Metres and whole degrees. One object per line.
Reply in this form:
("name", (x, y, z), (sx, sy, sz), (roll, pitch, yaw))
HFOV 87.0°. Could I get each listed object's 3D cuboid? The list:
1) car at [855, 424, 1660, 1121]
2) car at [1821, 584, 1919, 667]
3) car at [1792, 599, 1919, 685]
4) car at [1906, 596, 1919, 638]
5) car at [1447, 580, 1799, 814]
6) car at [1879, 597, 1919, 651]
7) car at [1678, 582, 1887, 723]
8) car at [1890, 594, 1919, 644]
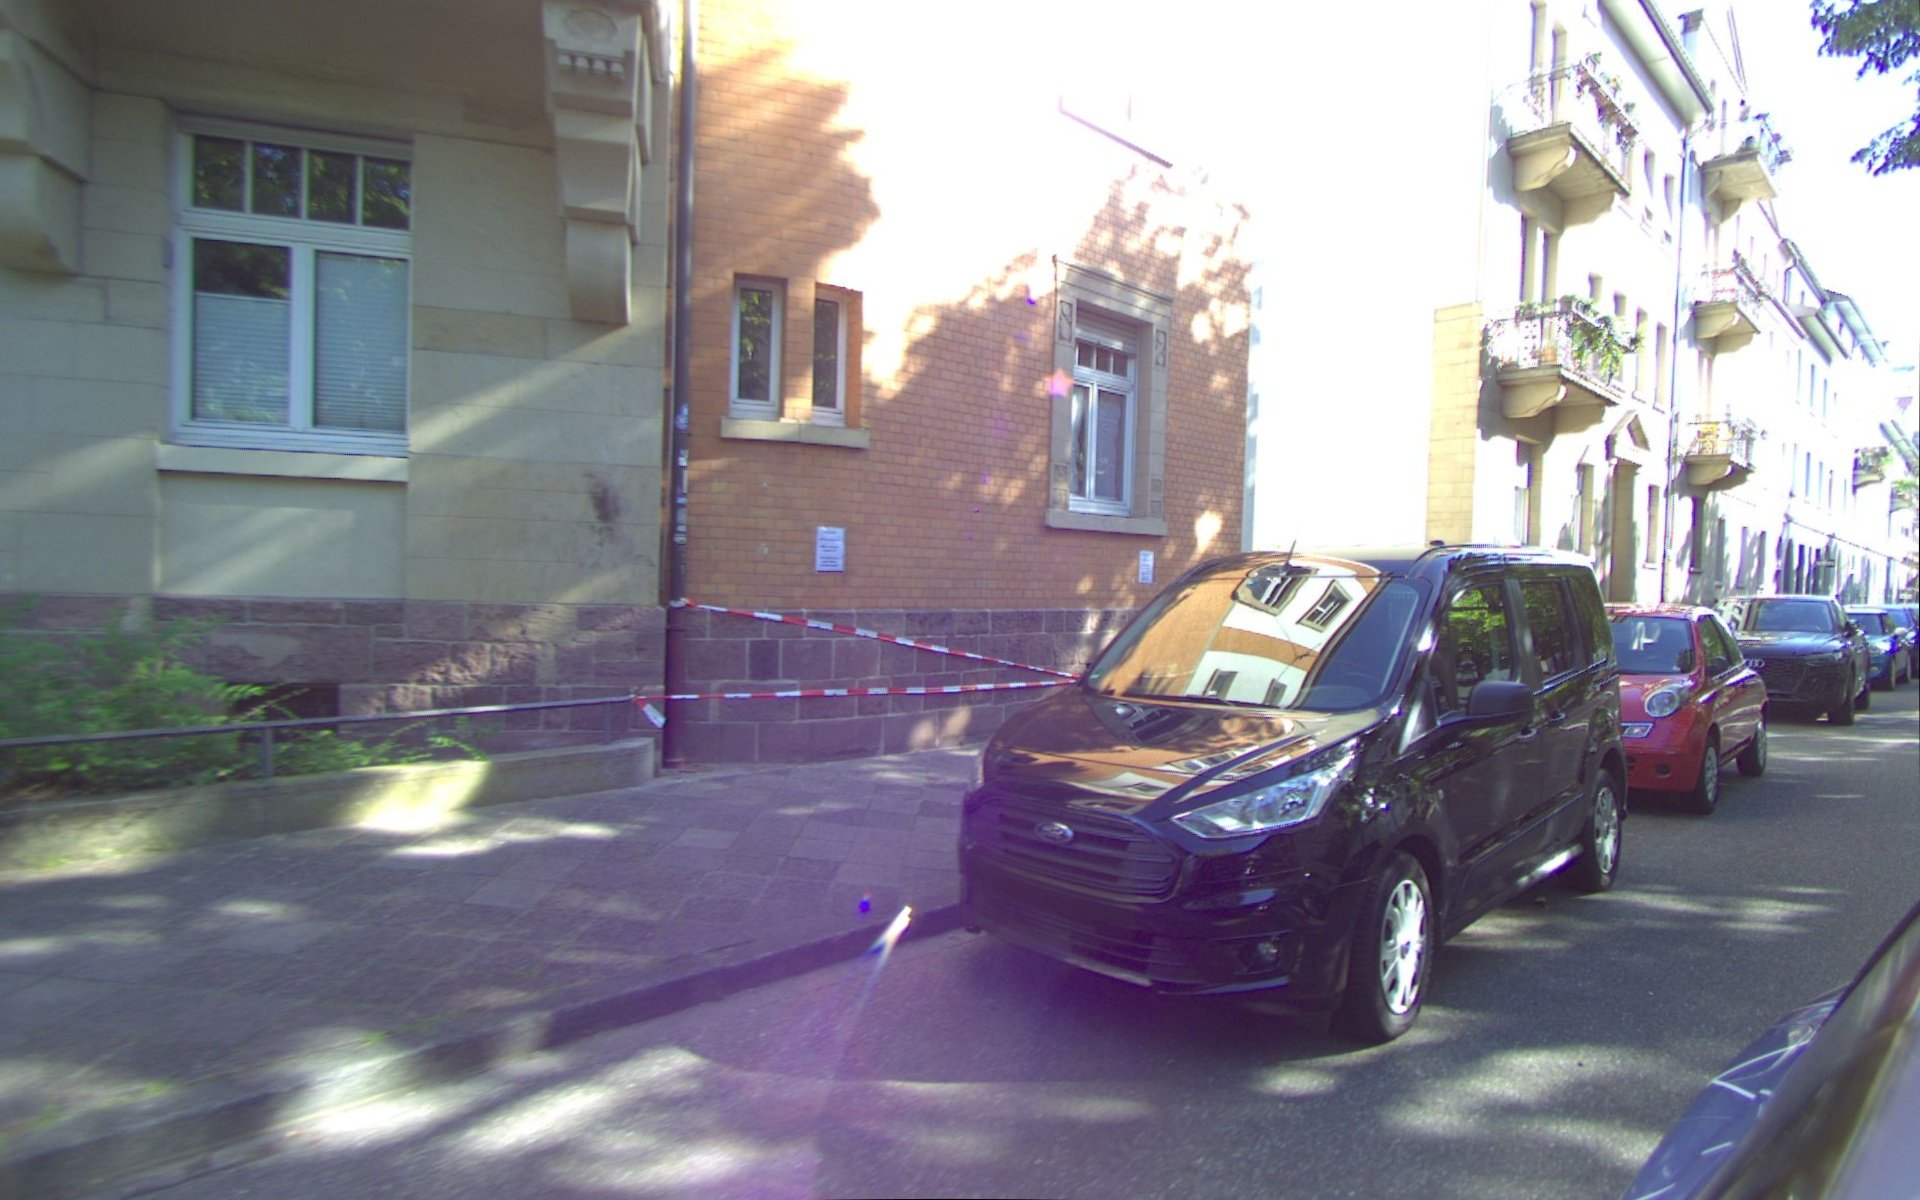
("car", (1.728, 0.485, 4.873), (4.201, 1.895, 1.802), (0, -2, -43))
("car", (20.147, 0.506, 21.947), (4.249, 1.583, 1.807), (0, 3, -44))
("car", (16.836, 0.710, 18.826), (3.569, 1.433, 1.592), (0, 0, -42))
("car", (35.411, 0.600, 36.345), (4.218, 1.449, 1.772), (0, 1, -43))
("car", (5.839, 0.650, 8.718), (3.933, 1.557, 1.647), (0, -1, -43))
("car", (27.779, 0.662, 29.097), (3.937, 1.486, 1.694), (0, 1, -43))
("car", (11.579, 0.602, 14.132), (1.865, 1.664, 4.419), (1, 0, 45))
("car", (31.426, 0.588, 32.685), (4.114, 1.571, 1.769), (0, 0, -44))
